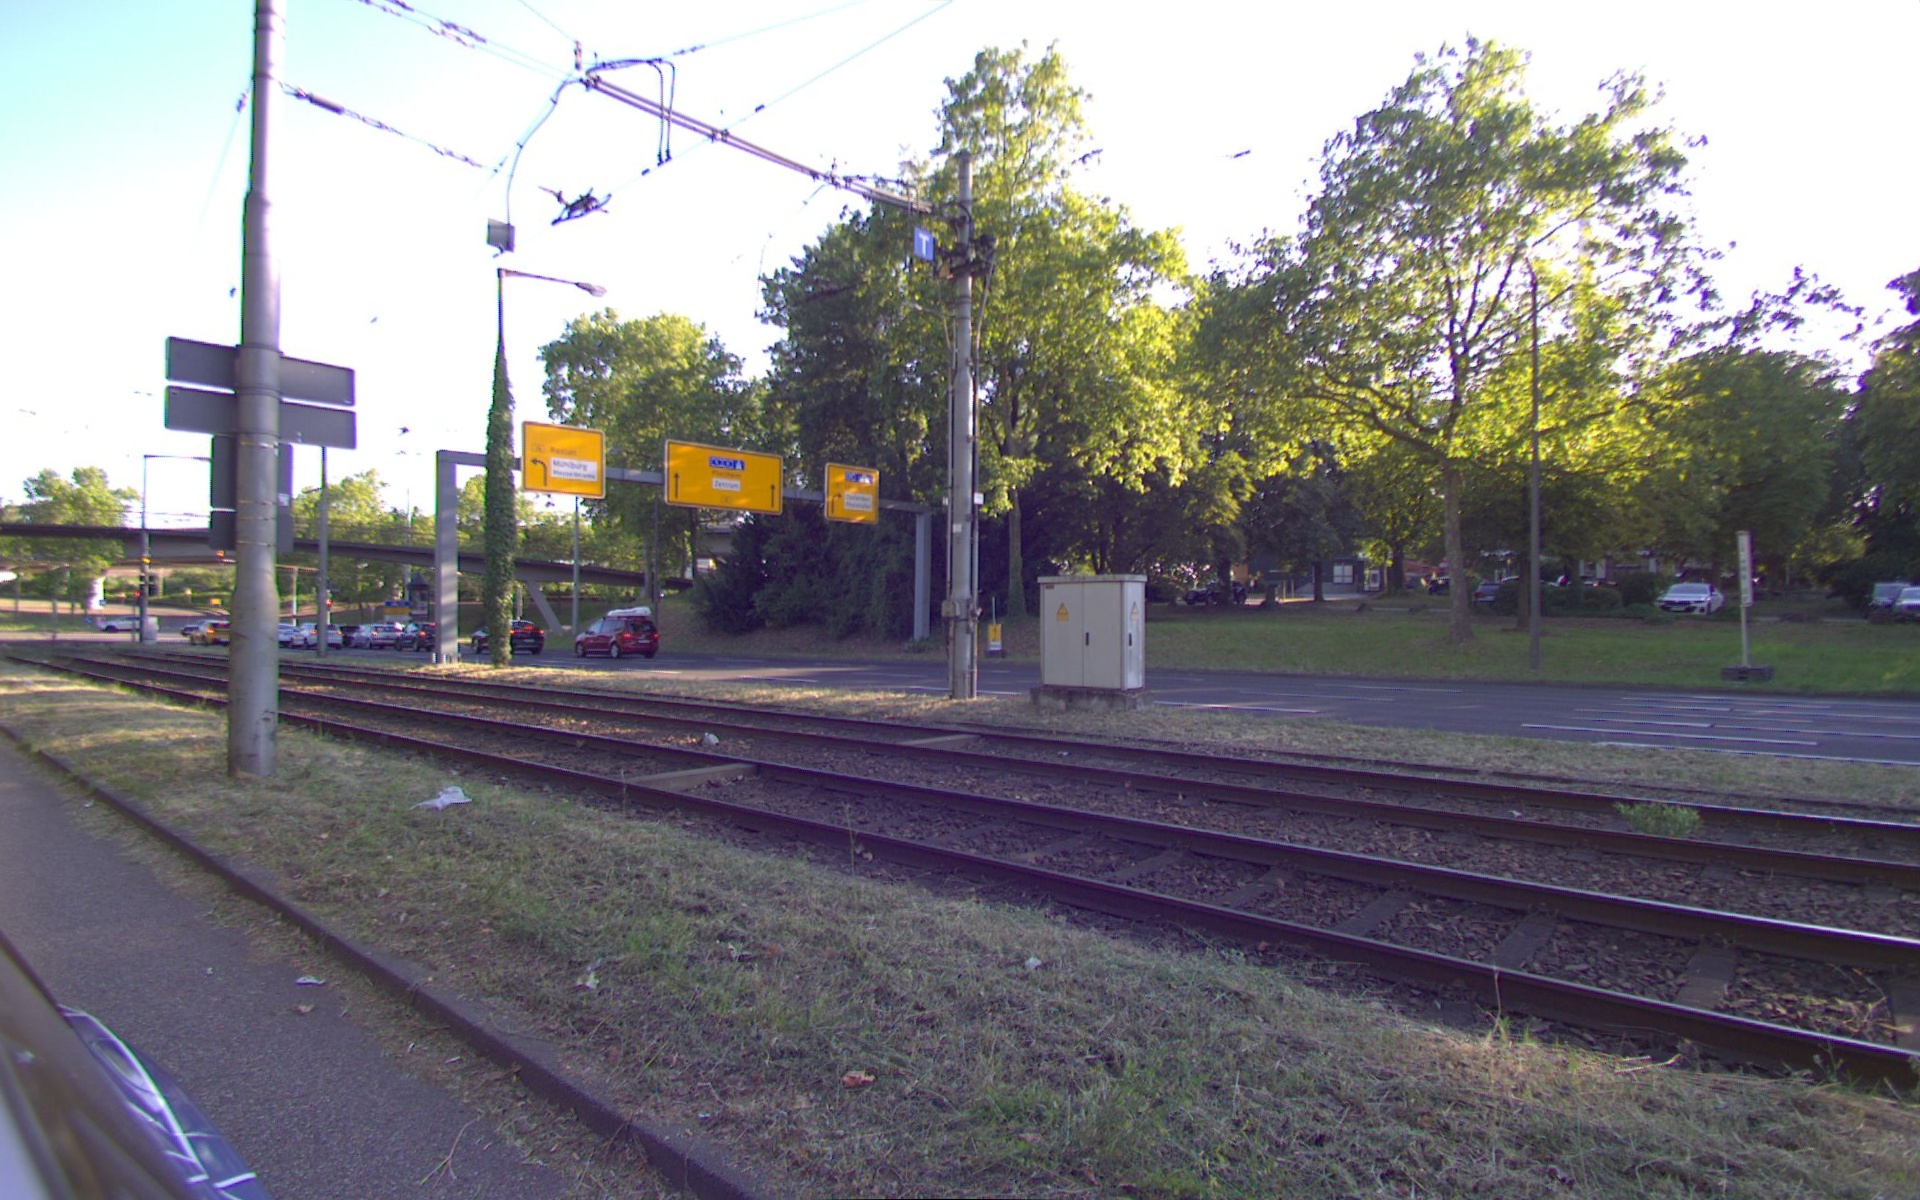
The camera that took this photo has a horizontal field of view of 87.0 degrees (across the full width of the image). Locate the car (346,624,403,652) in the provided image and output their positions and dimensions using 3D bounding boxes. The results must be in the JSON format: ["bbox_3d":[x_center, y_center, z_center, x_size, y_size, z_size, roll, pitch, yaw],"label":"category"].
[{"bbox_3d":[-34.958,2.254,60.420,3.998,1.556,1.789,-1,-1,41],"label":"car"}]

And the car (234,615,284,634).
[{"bbox_3d":[-66.705,2.337,96.333,3.748,1.740,1.682,-1,0,-29],"label":"car"}]

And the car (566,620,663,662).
[{"bbox_3d":[-14.190,1.663,41.500,4.308,1.647,1.818,-1,-2,40],"label":"car"}]

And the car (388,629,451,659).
[{"bbox_3d":[-28.943,2.324,54.129,3.971,1.569,1.733,-2,-2,42],"label":"car"}]

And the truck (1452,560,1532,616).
[{"bbox_3d":[31.747,-0.706,60.289,2.503,3.191,6.137,0,0,45],"label":"truck"}]

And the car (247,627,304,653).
[{"bbox_3d":[-40.570,2.330,59.961,4.226,1.435,1.893,-1,-1,42],"label":"car"}]

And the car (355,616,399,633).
[{"bbox_3d":[-58.026,2.434,100.772,3.747,1.591,1.683,-1,0,-26],"label":"car"}]

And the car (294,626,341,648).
[{"bbox_3d":[-44.269,2.499,69.681,1.891,1.435,4.229,0,-1,-44],"label":"car"}]

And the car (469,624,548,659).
[{"bbox_3d":[-21.176,1.918,47.396,4.332,1.556,1.713,-1,-2,41],"label":"car"}]

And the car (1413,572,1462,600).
[{"bbox_3d":[33.560,-1.014,71.065,2.290,1.864,5.214,-1,1,34],"label":"car"}]

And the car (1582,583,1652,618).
[{"bbox_3d":[30.038,-0.008,46.224,1.942,1.521,4.039,0,0,44],"label":"car"}]

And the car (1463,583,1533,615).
[{"bbox_3d":[26.173,-0.059,49.190,1.942,1.521,4.039,0,0,44],"label":"car"}]

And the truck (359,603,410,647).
[{"bbox_3d":[-40.299,1.733,70.774,2.248,2.901,6.895,0,-1,-37],"label":"truck"}]

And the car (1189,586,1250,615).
[{"bbox_3d":[15.399,0.047,59.962,1.791,1.657,3.942,-1,-1,44],"label":"car"}]

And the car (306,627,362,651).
[{"bbox_3d":[-39.758,2.443,64.235,4.224,1.435,1.844,-1,-1,40],"label":"car"}]

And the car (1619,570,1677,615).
[{"bbox_3d":[36.889,-0.417,54.243,2.161,2.320,4.348,0,0,40],"label":"car"}]

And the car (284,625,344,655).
[{"bbox_3d":[-35.737,2.198,55.962,3.997,1.556,1.744,-1,-1,40],"label":"car"}]

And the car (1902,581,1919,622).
[{"bbox_3d":[37.584,0.021,38.897,1.942,1.521,4.039,0,0,44],"label":"car"}]

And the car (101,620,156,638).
[{"bbox_3d":[-77.397,2.677,94.212,3.728,1.510,1.769,-1,0,-32],"label":"car"}]

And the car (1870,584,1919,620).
[{"bbox_3d":[43.972,0.077,47.230,3.998,1.628,1.864,-1,0,-43],"label":"car"}]

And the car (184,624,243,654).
[{"bbox_3d":[-40.800,2.118,55.262,3.997,1.556,1.744,-1,-1,40],"label":"car"}]

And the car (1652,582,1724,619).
[{"bbox_3d":[31.565,-0.012,43.849,1.942,1.521,4.039,0,0,44],"label":"car"}]

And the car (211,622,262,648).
[{"bbox_3d":[-45.834,2.177,64.051,4.228,1.561,1.892,-1,-2,44],"label":"car"}]

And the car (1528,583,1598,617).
[{"bbox_3d":[28.429,0.001,47.661,1.942,1.521,4.039,0,0,44],"label":"car"}]
